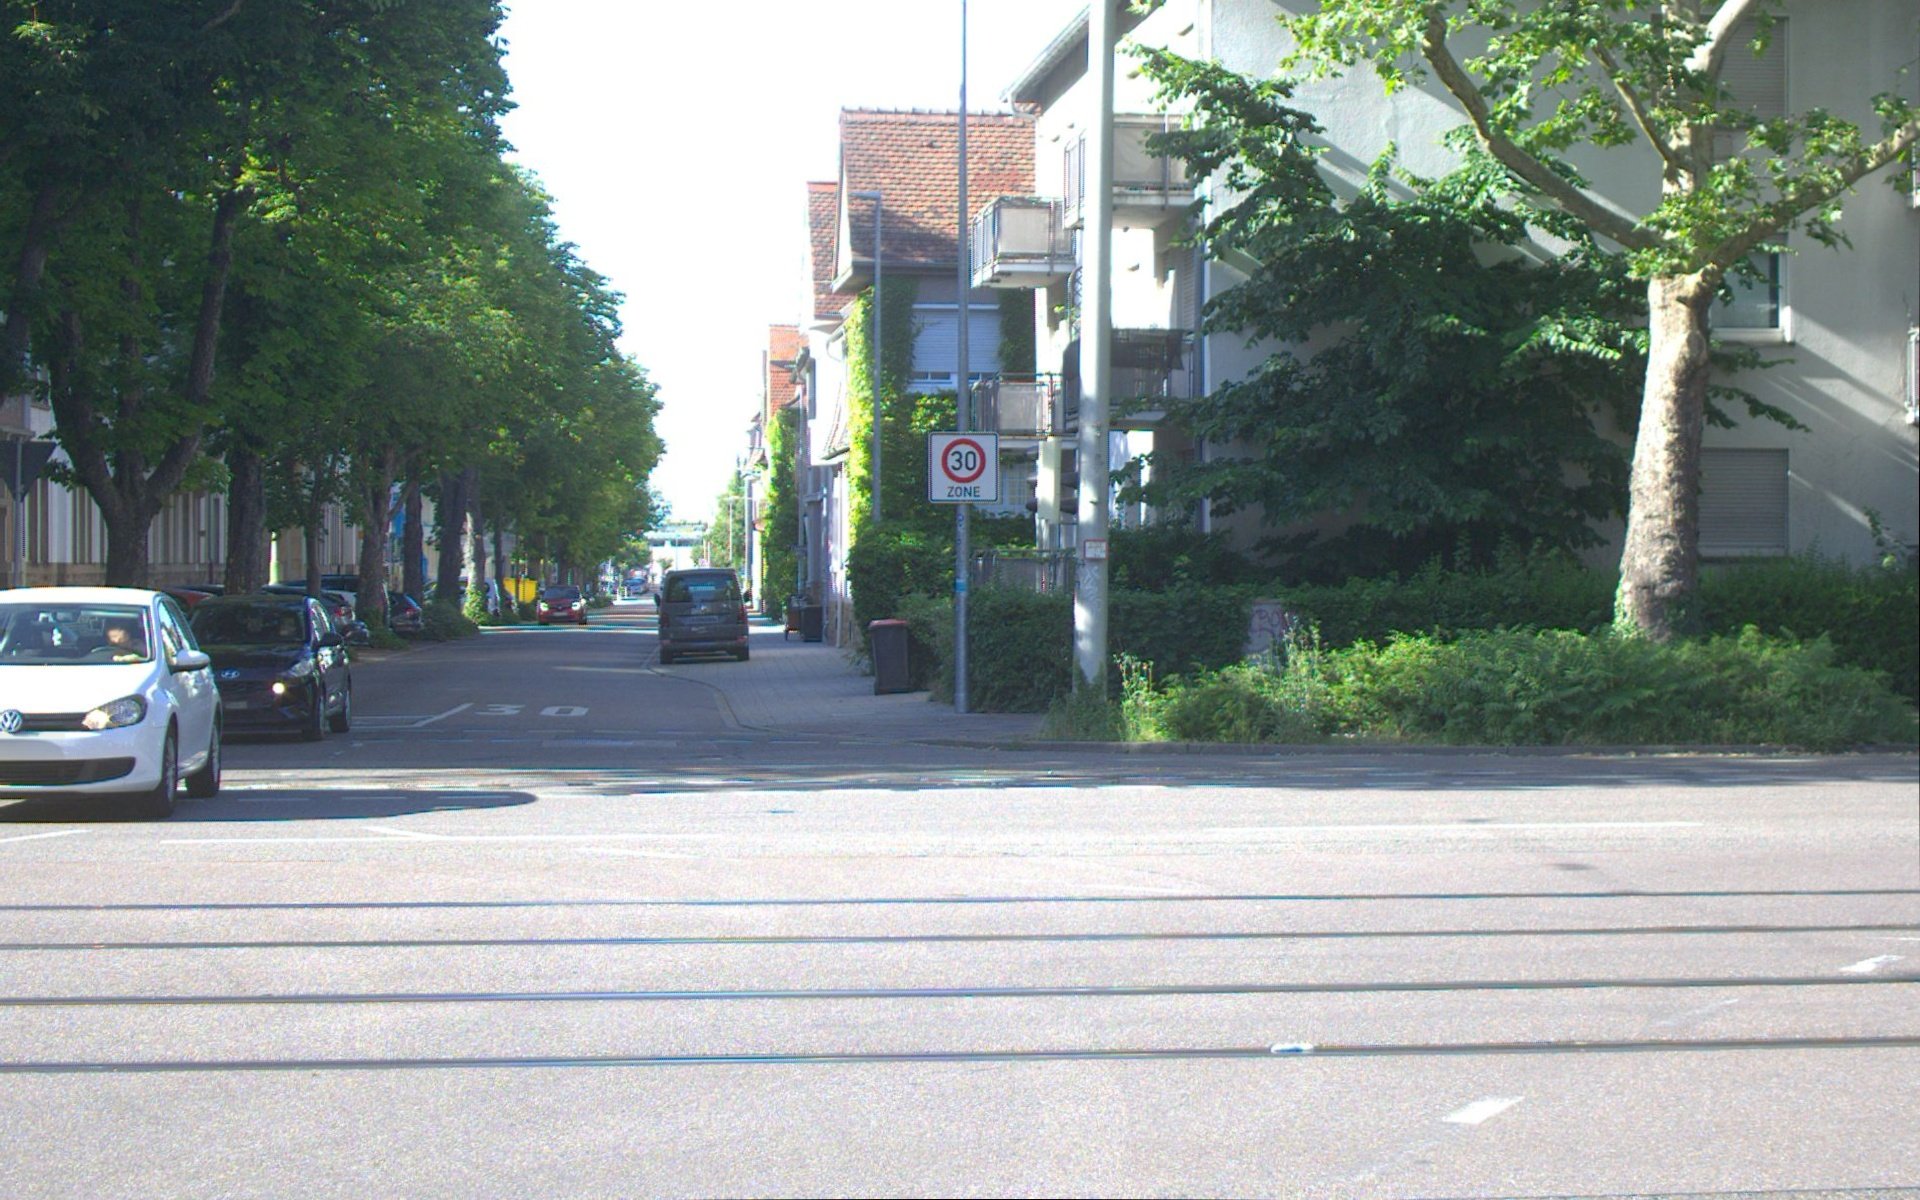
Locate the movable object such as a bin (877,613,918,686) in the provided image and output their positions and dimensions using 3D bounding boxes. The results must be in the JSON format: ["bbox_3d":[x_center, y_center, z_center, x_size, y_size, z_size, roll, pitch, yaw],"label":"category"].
[{"bbox_3d":[-0.926,0.728,51.136,0.483,1.041,0.657,-4,0,-7],"label":"movable object such as a bin"}]

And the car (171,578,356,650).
[{"bbox_3d":[-16.179,0.319,80.016,3.986,1.587,1.859,1,0,-5],"label":"car"}]

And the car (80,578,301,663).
[{"bbox_3d":[-15.228,0.401,68.145,3.986,1.561,1.863,1,0,-3],"label":"car"}]

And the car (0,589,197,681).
[{"bbox_3d":[-14.372,0.574,56.185,3.433,1.447,1.703,1,-1,-2],"label":"car"}]

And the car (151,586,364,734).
[{"bbox_3d":[-7.250,0.582,35.759,1.660,1.459,3.809,0,0,-4],"label":"car"}]

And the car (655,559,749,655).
[{"bbox_3d":[-5.515,0.132,73.495,1.864,1.909,4.783,3,0,-4],"label":"car"}]

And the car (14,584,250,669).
[{"bbox_3d":[-15.318,0.486,63.704,3.986,1.503,1.722,-1,0,-3],"label":"car"}]

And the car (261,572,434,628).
[{"bbox_3d":[-16.810,0.000,94.505,4.531,1.498,1.892,1,0,-5],"label":"car"}]

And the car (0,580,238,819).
[{"bbox_3d":[-5.955,0.624,22.860,1.806,1.453,4.000,0,-1,-5],"label":"car"}]

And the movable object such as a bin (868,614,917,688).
[{"bbox_3d":[-0.988,0.743,50.219,0.597,1.041,0.707,-4,0,-7],"label":"movable object such as a bin"}]

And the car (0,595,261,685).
[{"bbox_3d":[-13.242,0.625,54.108,4.211,1.344,1.703,1,-1,-4],"label":"car"}]

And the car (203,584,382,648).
[{"bbox_3d":[-16.009,0.369,82.546,3.902,1.441,1.859,1,0,1],"label":"car"}]

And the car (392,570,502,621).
[{"bbox_3d":[-19.308,-0.176,129.449,3.986,1.755,1.798,2,0,-8],"label":"car"}]

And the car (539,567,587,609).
[{"bbox_3d":[-14.701,-0.452,127.354,1.641,1.503,3.703,-1,0,-5],"label":"car"}]
